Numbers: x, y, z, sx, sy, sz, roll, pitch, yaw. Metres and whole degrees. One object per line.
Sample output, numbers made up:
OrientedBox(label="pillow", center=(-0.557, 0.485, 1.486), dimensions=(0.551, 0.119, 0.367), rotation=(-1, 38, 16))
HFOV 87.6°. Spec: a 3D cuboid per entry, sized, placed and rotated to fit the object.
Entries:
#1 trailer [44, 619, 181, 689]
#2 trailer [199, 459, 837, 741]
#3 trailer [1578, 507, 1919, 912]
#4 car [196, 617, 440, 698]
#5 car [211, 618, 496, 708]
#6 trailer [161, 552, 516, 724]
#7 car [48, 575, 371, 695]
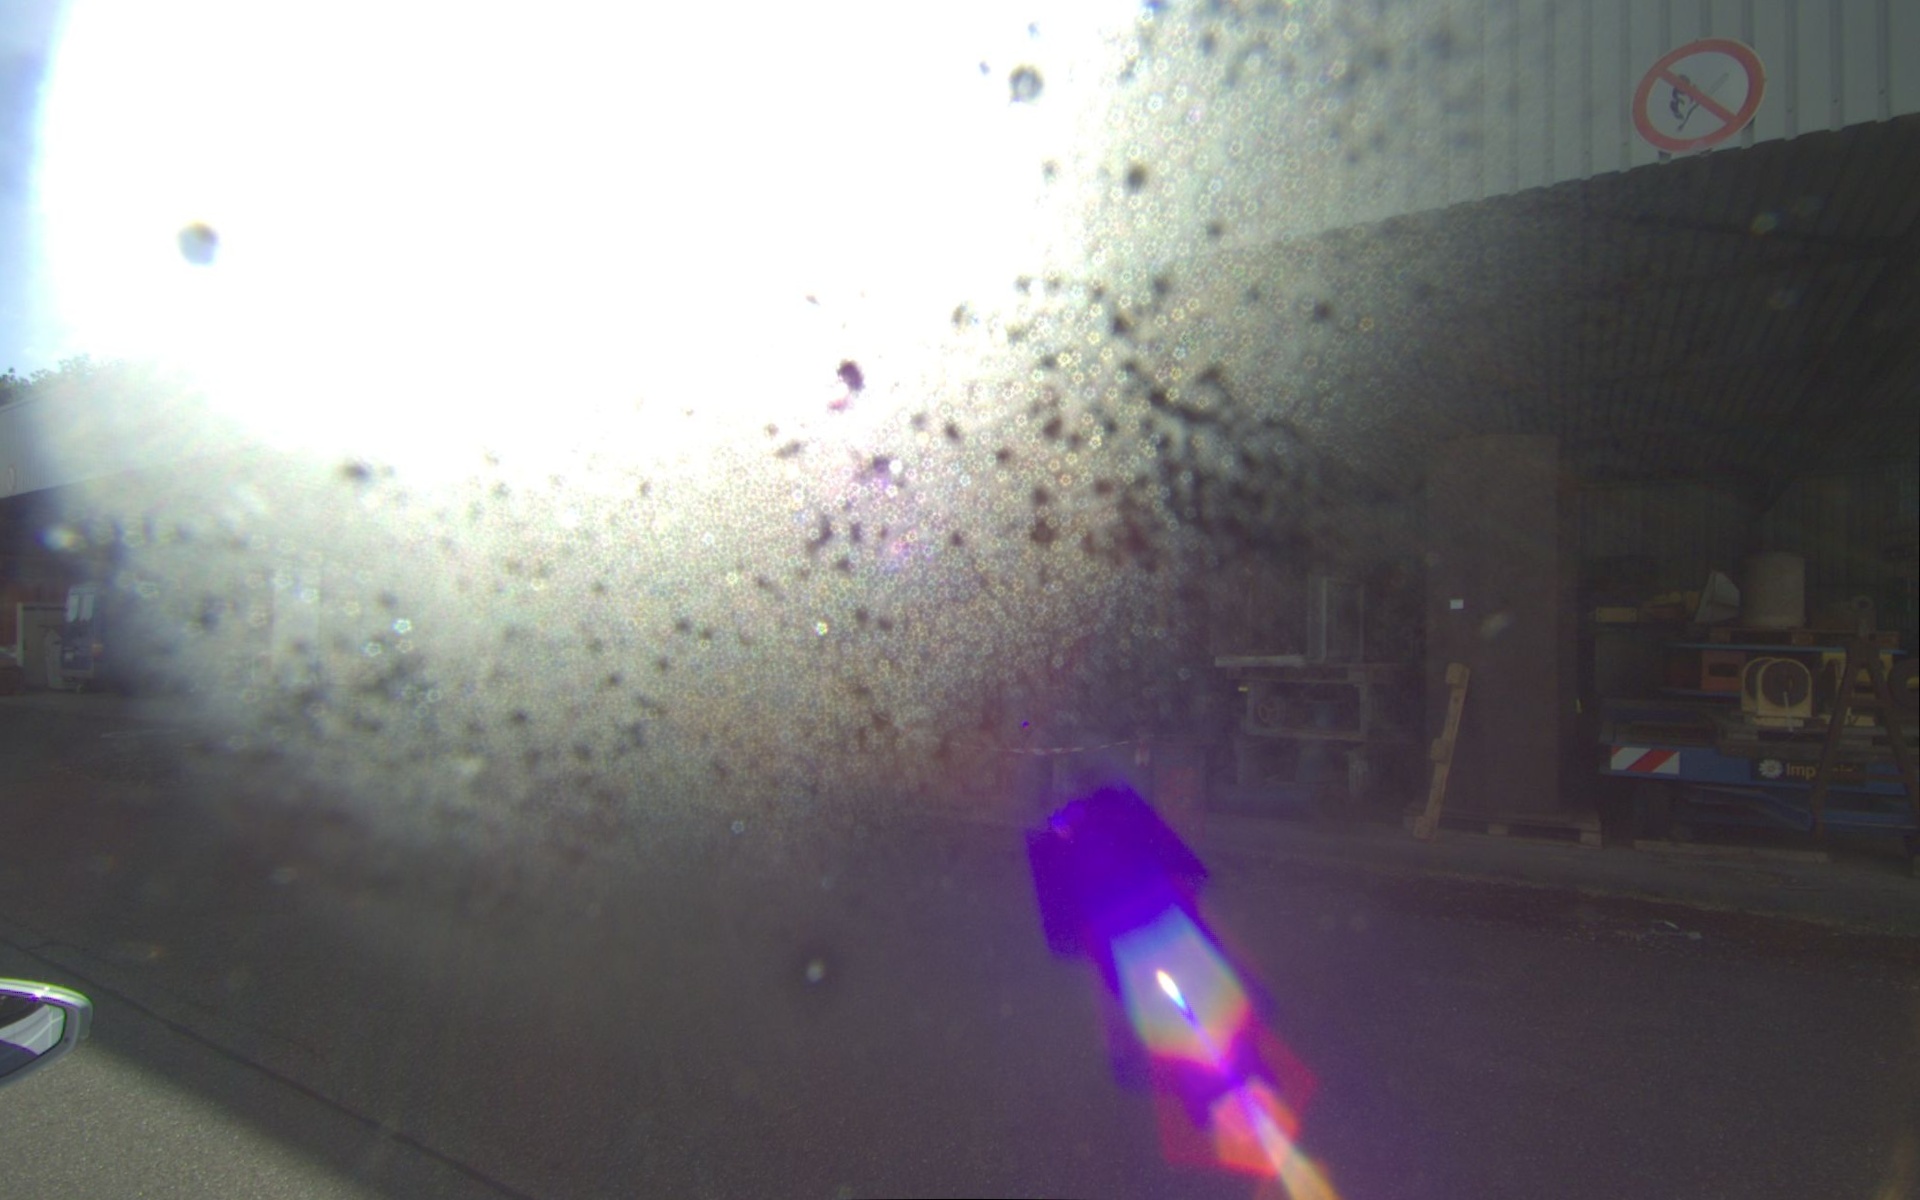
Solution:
OrientedBox(label="trailer", center=(-19.146, 1.183, 22.642), dimensions=(1.715, 1.485, 2.032), rotation=(-1, -1, 36))
OrientedBox(label="trailer", center=(-6.431, 0.120, 17.157), dimensions=(2.761, 3.386, 10.250), rotation=(0, -1, 32))
OrientedBox(label="trailer", center=(5.664, 0.596, 7.039), dimensions=(2.133, 2.016, 4.414), rotation=(-1, -2, 33))
OrientedBox(label="car", center=(-13.394, 1.179, 21.146), dimensions=(1.812, 1.533, 3.962), rotation=(-1, -2, 29))
OrientedBox(label="car", center=(-11.224, 1.130, 18.871), dimensions=(1.841, 1.490, 4.246), rotation=(0, -2, 29))
OrientedBox(label="trailer", center=(-9.861, 0.591, 16.277), dimensions=(2.018, 2.372, 4.507), rotation=(-1, -1, 33))
OrientedBox(label="car", center=(-16.376, 0.790, 22.231), dimensions=(2.121, 2.310, 5.326), rotation=(-1, -2, 31))
